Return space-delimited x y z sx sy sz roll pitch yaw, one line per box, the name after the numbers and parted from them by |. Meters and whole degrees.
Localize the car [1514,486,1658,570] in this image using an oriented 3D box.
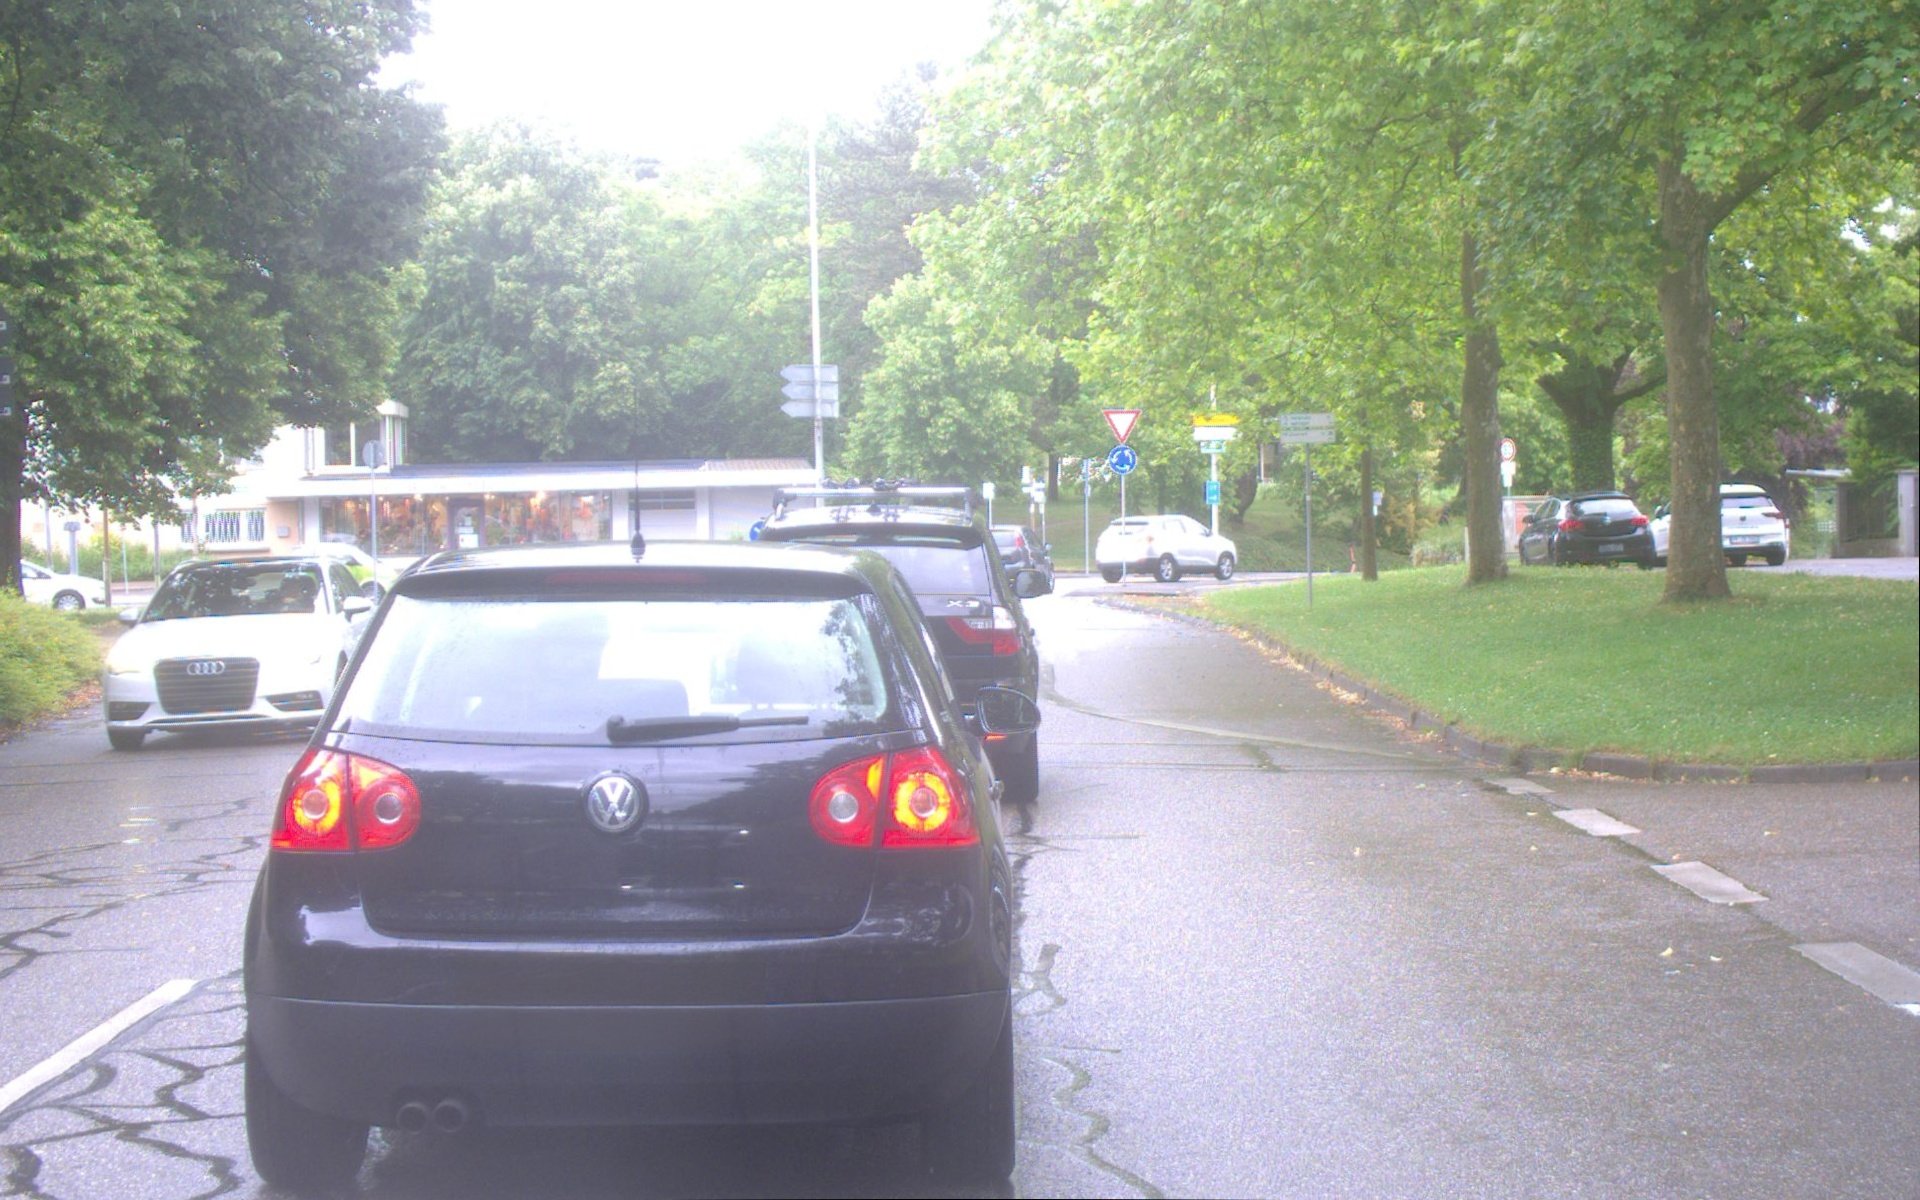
11.273 -1.314 62.155 1.803 1.381 4.000 -3 2 0 | car

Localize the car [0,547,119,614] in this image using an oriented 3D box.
-21.818 -0.418 79.289 4.494 1.414 1.848 -2 1 -19 | car

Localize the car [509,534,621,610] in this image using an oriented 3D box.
-7.953 -0.570 68.917 1.796 1.388 3.980 -3 1 -12 | car

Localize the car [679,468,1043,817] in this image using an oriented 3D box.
-0.508 0.182 19.885 1.855 1.778 4.000 -1 1 0 | car

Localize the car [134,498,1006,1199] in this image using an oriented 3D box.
-0.798 0.525 8.984 1.799 1.510 3.754 0 1 0 | car

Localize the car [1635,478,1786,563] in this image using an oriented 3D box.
13.602 -1.461 62.501 1.803 1.401 4.000 -3 2 0 | car

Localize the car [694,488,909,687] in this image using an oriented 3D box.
-1.481 -0.137 33.427 1.855 1.778 4.000 -1 1 0 | car

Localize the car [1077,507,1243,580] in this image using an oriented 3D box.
5.078 -1.430 86.891 1.999 1.700 3.990 -1 1 45 | car

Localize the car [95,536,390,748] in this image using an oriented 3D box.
-5.538 0.266 26.957 1.608 1.422 4.009 -2 2 -3 | car

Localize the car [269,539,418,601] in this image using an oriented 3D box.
-14.259 -0.711 79.635 3.120 1.305 1.540 -2 1 1 | car
